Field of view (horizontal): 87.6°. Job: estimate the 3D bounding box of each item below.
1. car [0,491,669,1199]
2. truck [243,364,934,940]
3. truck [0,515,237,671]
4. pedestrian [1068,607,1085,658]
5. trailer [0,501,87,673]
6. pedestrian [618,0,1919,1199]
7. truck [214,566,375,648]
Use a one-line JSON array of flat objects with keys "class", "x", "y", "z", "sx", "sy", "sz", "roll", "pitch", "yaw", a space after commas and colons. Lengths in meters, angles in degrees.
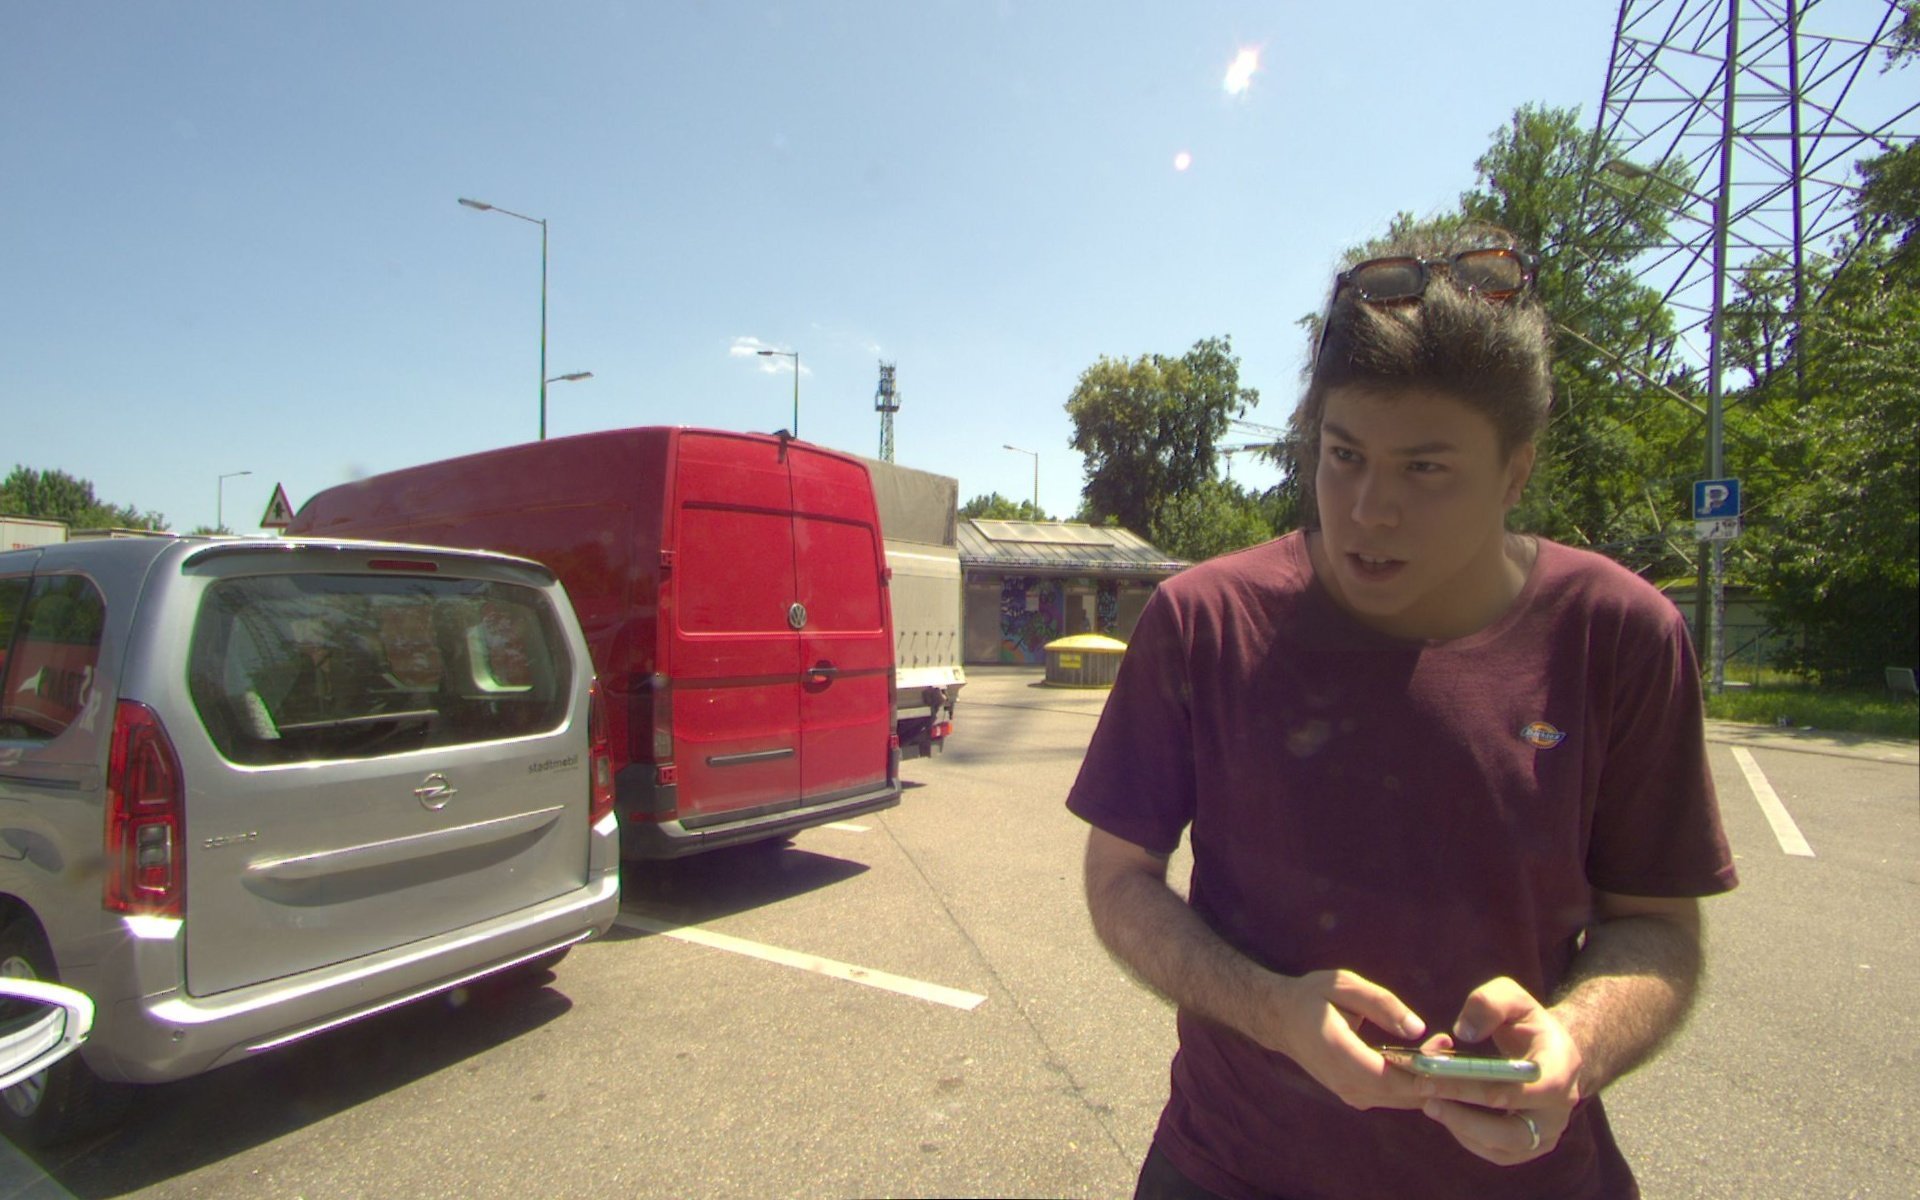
[{"class": "car", "x": -3.344, "y": 0.636, "z": 4.212, "sx": 3.938, "sy": 1.776, "sz": 1.824, "roll": 0, "pitch": -1, "yaw": 29}, {"class": "truck", "x": -2.858, "y": 0.261, "z": 6.997, "sx": 5.233, "sy": 2.658, "sz": 1.987, "roll": 0, "pitch": -1, "yaw": 37}, {"class": "truck", "x": -27.987, "y": -0.130, "z": 31.783, "sx": 14.316, "sy": 4.175, "sz": 2.901, "roll": 0, "pitch": -3, "yaw": 33}, {"class": "pedestrian", "x": 3.532, "y": 0.973, "z": 30.439, "sx": 0.453, "sy": 1.535, "sz": 0.375, "roll": 1, "pitch": 0, "yaw": -2}, {"class": "trailer", "x": -28.792, "y": -0.327, "z": 28.029, "sx": 13.374, "sy": 4.178, "sz": 2.871, "roll": 0, "pitch": -1, "yaw": 33}, {"class": "pedestrian", "x": 0.350, "y": 0.508, "z": 0.871, "sx": 0.926, "sy": 1.798, "sz": 0.827, "roll": 1, "pitch": 0, "yaw": 28}, {"class": "truck", "x": -30.705, "y": 0.321, "z": 46.071, "sx": 8.407, "sy": 3.482, "sz": 3.019, "roll": 0, "pitch": -1, "yaw": 33}]
